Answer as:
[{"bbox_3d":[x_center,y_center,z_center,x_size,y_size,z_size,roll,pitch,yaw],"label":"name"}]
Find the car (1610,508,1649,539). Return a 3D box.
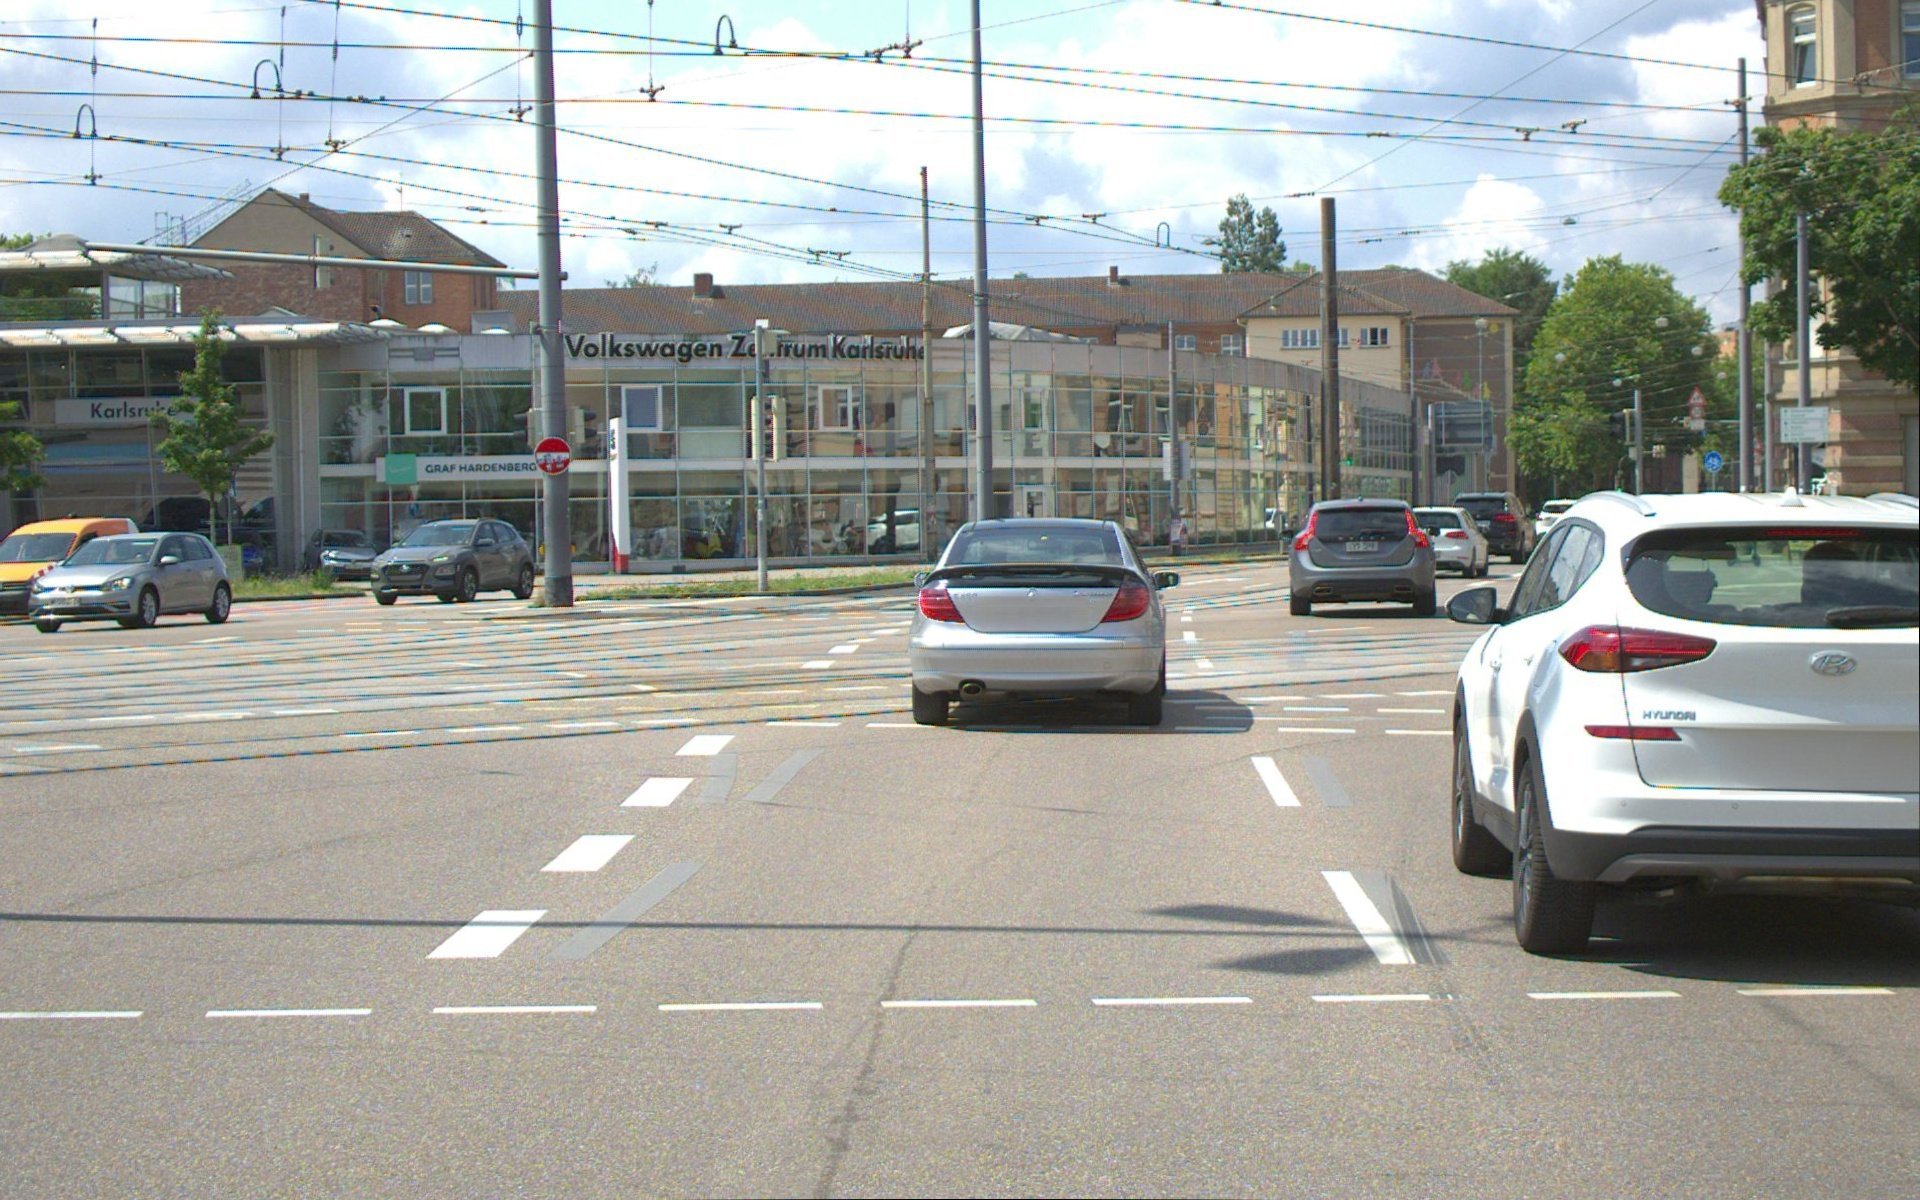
[{"bbox_3d":[37.641,-4.323,193.236,1.882,1.687,3.955,0,1,14],"label":"car"}]

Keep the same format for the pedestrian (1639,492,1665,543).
[{"bbox_3d":[20.000,-2.375,99.330,0.693,1.452,0.679,0,0,14],"label":"pedestrian"}]

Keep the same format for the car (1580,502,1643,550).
[{"bbox_3d":[22.702,-2.595,119.671,1.882,1.635,3.954,0,1,15],"label":"car"}]

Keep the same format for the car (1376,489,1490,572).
[{"bbox_3d":[9.762,-1.442,70.793,1.882,1.635,3.955,0,1,14],"label":"car"}]

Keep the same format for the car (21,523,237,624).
[{"bbox_3d":[-12.552,-0.427,52.180,1.654,1.429,4.270,-1,1,9],"label":"car"}]

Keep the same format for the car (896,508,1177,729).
[{"bbox_3d":[0.623,0.065,24.462,1.741,1.387,4.179,0,2,5],"label":"car"}]

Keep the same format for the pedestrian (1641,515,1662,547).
[{"bbox_3d":[19.965,-1.984,99.245,0.525,0.903,1.560,0,0,14],"label":"pedestrian"}]

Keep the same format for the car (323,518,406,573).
[{"bbox_3d":[-17.482,-1.584,101.052,1.993,1.568,4.000,0,0,-4],"label":"car"}]

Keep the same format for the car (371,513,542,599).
[{"bbox_3d":[-9.333,-0.842,64.025,1.719,1.526,4.119,-1,1,14],"label":"car"}]

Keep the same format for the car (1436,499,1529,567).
[{"bbox_3d":[12.976,-1.683,85.223,1.882,1.635,3.955,0,1,14],"label":"car"}]

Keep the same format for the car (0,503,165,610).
[{"bbox_3d":[-15.876,-0.786,60.690,1.719,1.794,4.738,-1,1,12],"label":"car"}]

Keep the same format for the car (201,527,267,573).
[{"bbox_3d":[-20.933,-1.426,99.018,1.647,1.246,4.001,0,0,-15],"label":"car"}]

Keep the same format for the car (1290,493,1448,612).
[{"bbox_3d":[5.198,-0.621,43.413,1.882,1.414,3.956,-1,1,8],"label":"car"}]

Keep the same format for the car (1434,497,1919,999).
[{"bbox_3d":[2.938,0.430,13.338,1.881,1.635,4.232,-1,1,4],"label":"car"}]

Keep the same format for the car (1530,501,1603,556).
[{"bbox_3d":[18.648,-2.216,105.602,1.882,1.635,3.954,0,1,14],"label":"car"}]
